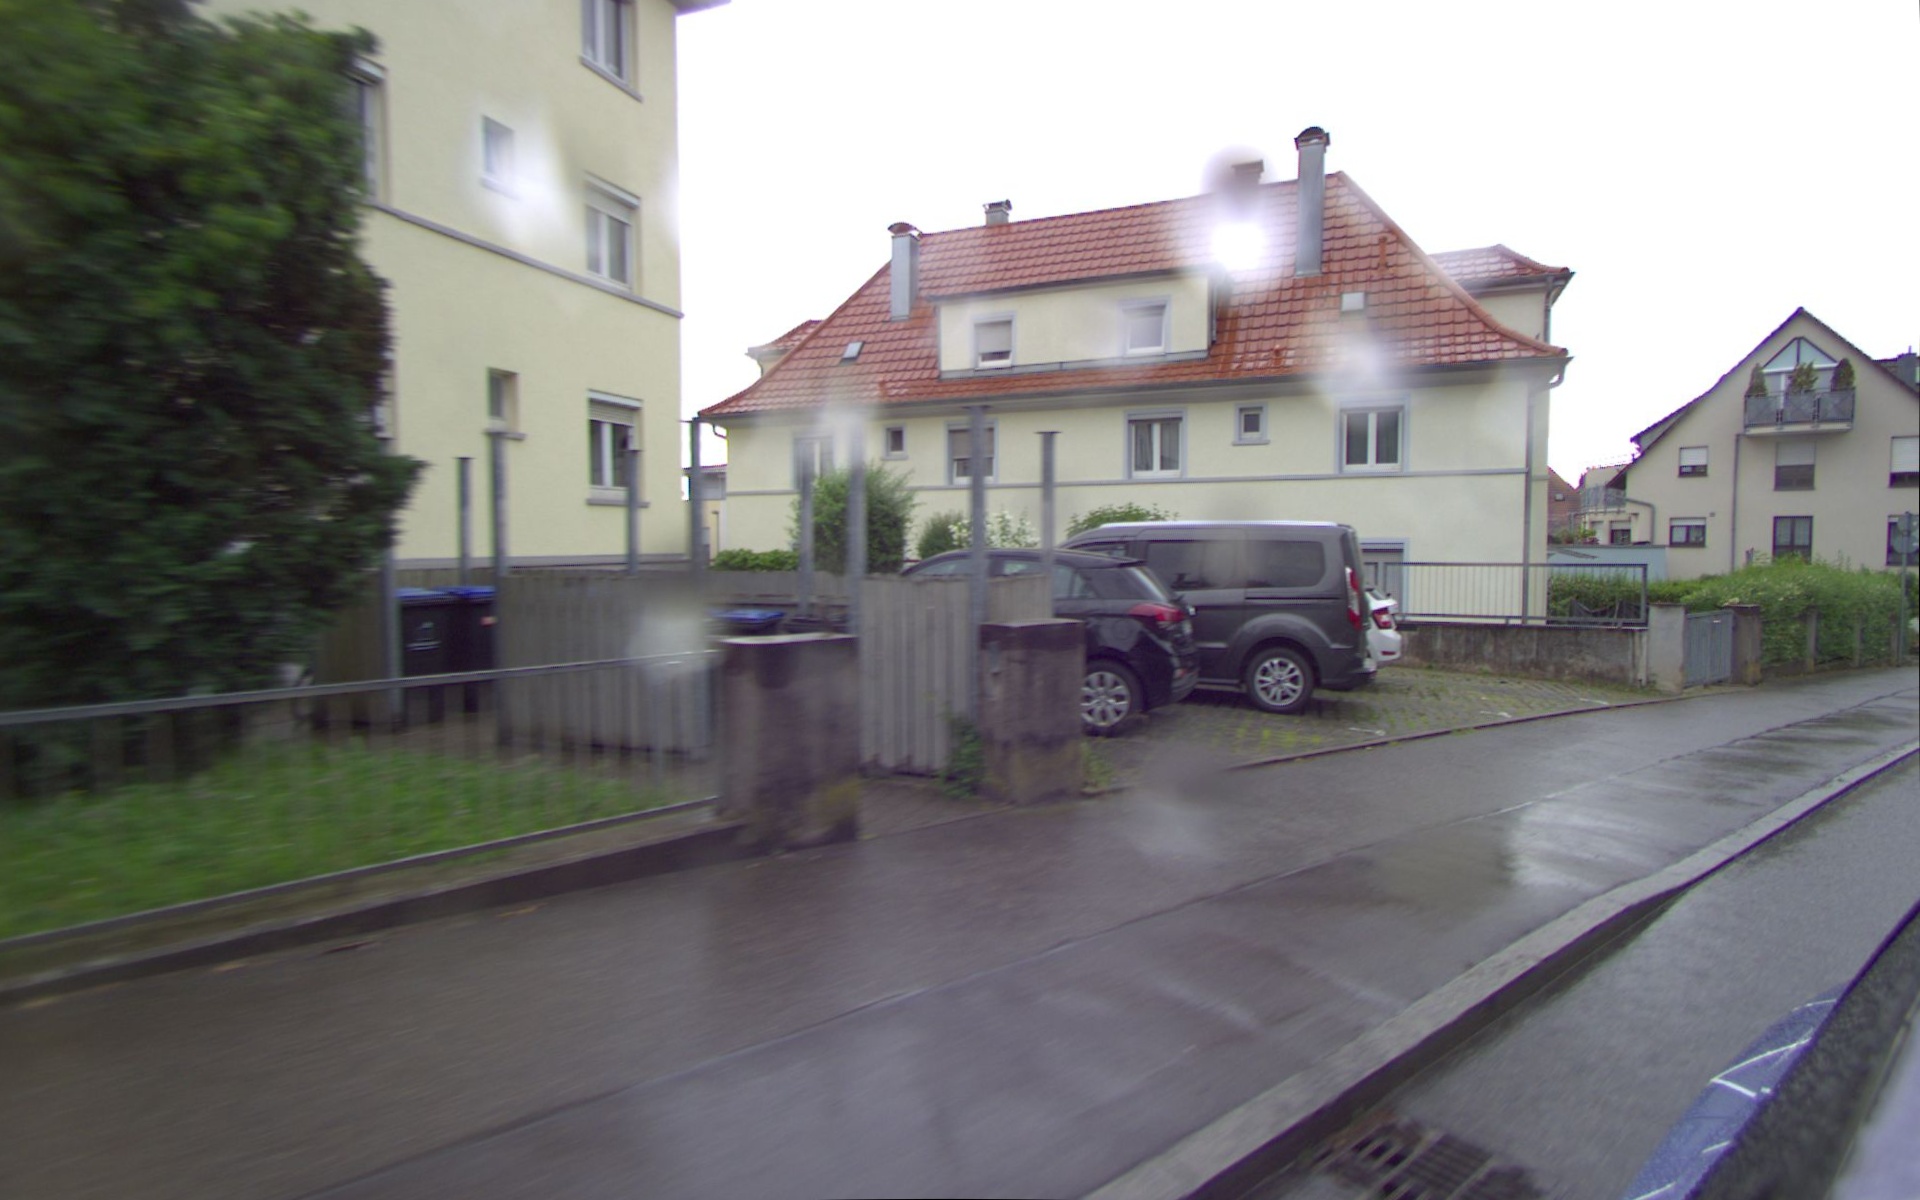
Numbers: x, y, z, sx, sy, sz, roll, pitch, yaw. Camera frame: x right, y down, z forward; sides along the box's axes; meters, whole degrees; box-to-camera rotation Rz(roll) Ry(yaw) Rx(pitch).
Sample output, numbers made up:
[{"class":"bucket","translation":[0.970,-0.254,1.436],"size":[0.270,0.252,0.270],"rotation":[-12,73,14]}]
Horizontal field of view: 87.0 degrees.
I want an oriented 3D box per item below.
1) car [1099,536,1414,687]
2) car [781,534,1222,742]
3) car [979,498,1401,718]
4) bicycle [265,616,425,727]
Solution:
[{"class":"car","translation":[3.678,0.042,12.646],"size":[3.487,1.492,1.676],"rotation":[5,5,23]},{"class":"car","translation":[0.399,0.196,8.863],"size":[3.483,1.355,1.678],"rotation":[5,5,20]},{"class":"car","translation":[2.352,-0.046,10.526],"size":[3.890,1.802,1.759],"rotation":[5,4,21]},{"class":"bicycle","translation":[-5.196,0.572,8.618],"size":[0.364,0.828,1.196],"rotation":[2,1,20]}]
